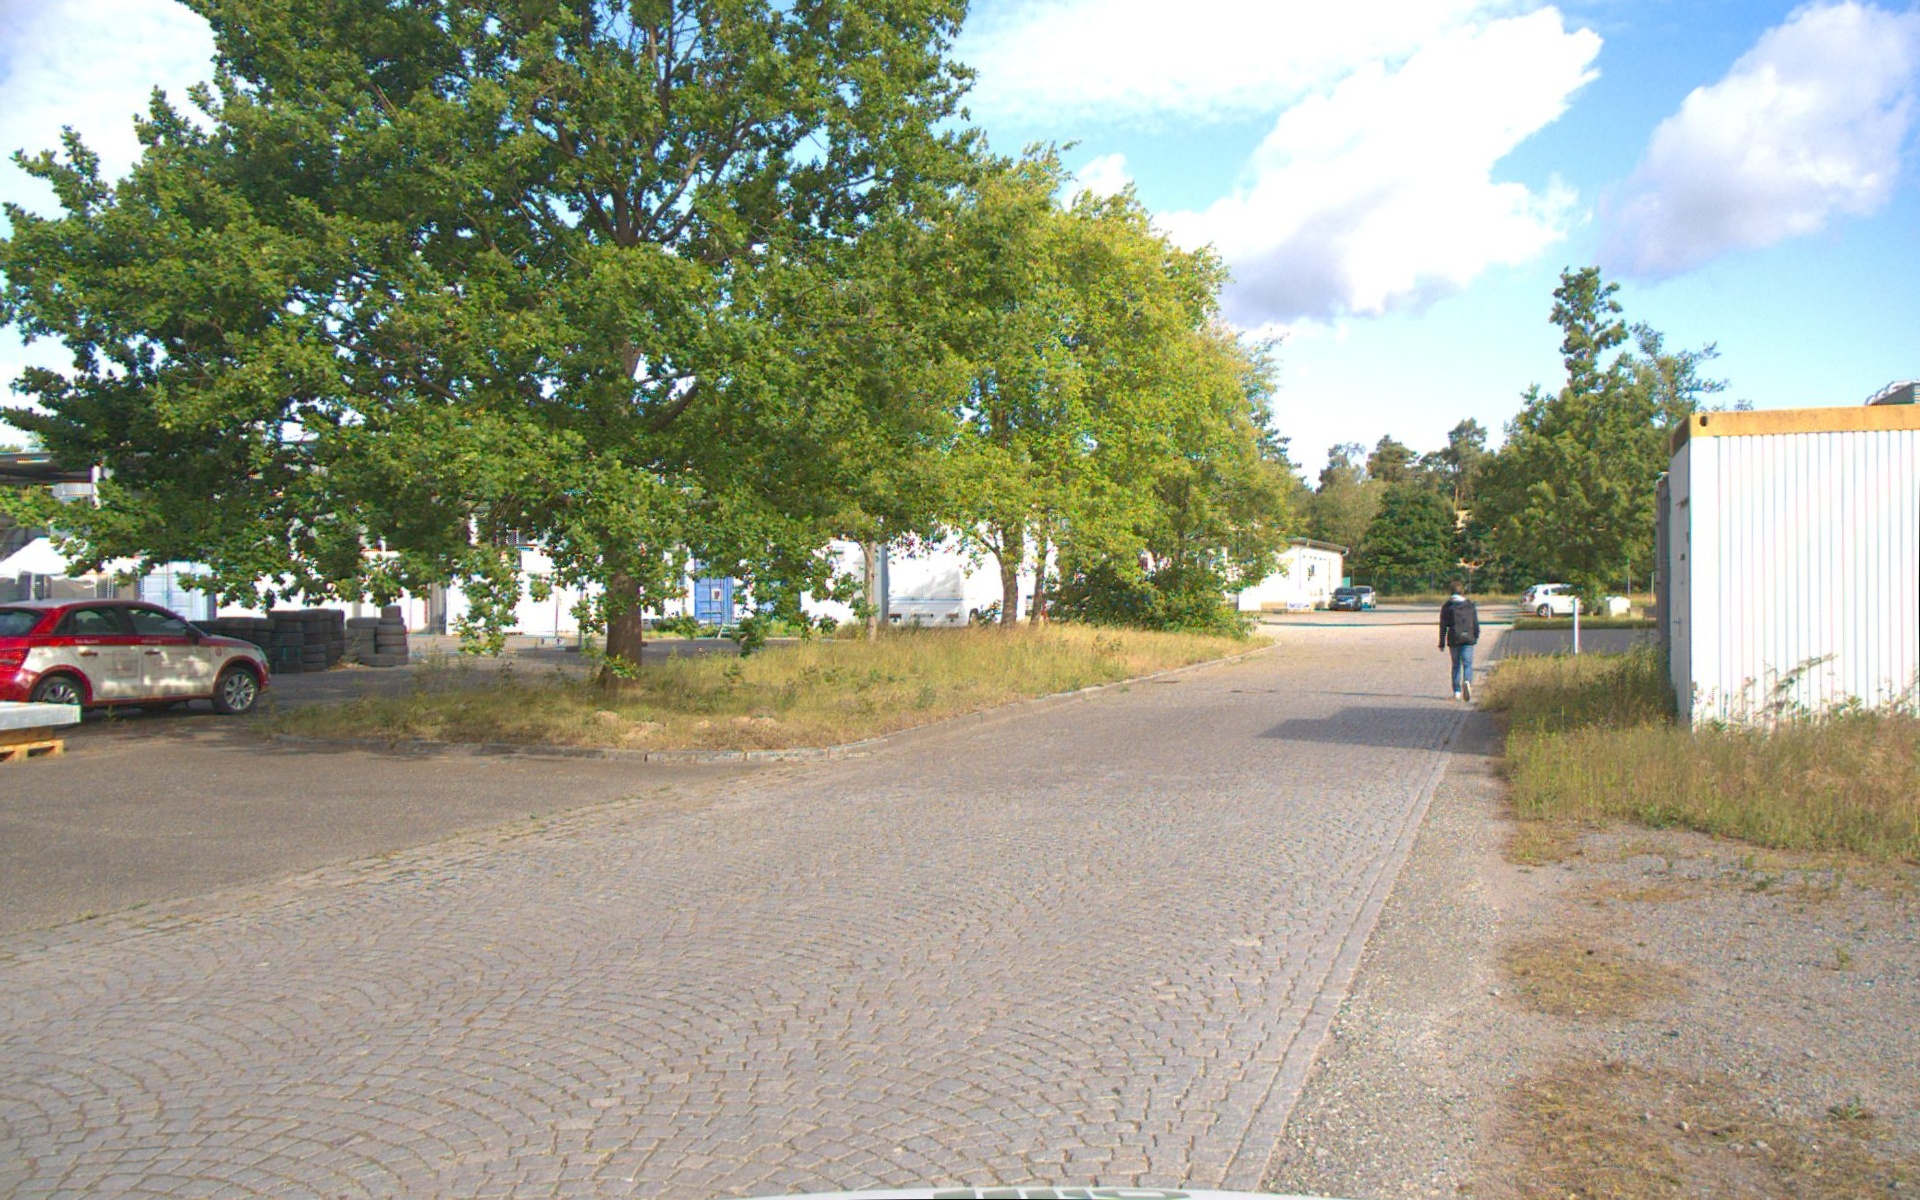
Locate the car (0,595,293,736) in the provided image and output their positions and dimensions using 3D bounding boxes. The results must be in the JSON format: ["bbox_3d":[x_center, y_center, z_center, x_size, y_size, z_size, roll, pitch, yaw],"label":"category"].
[{"bbox_3d":[-10.256,0.705,19.977,1.688,1.489,3.997,0,0,25],"label":"car"}]

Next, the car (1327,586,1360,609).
[{"bbox_3d":[23.924,-0.163,103.339,1.951,1.395,4.004,-1,0,12],"label":"car"}]

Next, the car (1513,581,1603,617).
[{"bbox_3d":[28.588,-0.051,79.063,3.907,1.671,1.999,0,0,24],"label":"car"}]

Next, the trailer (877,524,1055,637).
[{"bbox_3d":[0.430,-0.637,56.622,2.856,3.532,9.903,-1,0,20],"label":"trailer"}]

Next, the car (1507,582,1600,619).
[{"bbox_3d":[27.500,0.002,76.666,3.907,1.671,1.999,0,0,24],"label":"car"}]

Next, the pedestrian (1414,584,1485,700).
[{"bbox_3d":[6.853,0.573,23.139,0.847,1.586,1.028,-1,0,22],"label":"pedestrian"}]
